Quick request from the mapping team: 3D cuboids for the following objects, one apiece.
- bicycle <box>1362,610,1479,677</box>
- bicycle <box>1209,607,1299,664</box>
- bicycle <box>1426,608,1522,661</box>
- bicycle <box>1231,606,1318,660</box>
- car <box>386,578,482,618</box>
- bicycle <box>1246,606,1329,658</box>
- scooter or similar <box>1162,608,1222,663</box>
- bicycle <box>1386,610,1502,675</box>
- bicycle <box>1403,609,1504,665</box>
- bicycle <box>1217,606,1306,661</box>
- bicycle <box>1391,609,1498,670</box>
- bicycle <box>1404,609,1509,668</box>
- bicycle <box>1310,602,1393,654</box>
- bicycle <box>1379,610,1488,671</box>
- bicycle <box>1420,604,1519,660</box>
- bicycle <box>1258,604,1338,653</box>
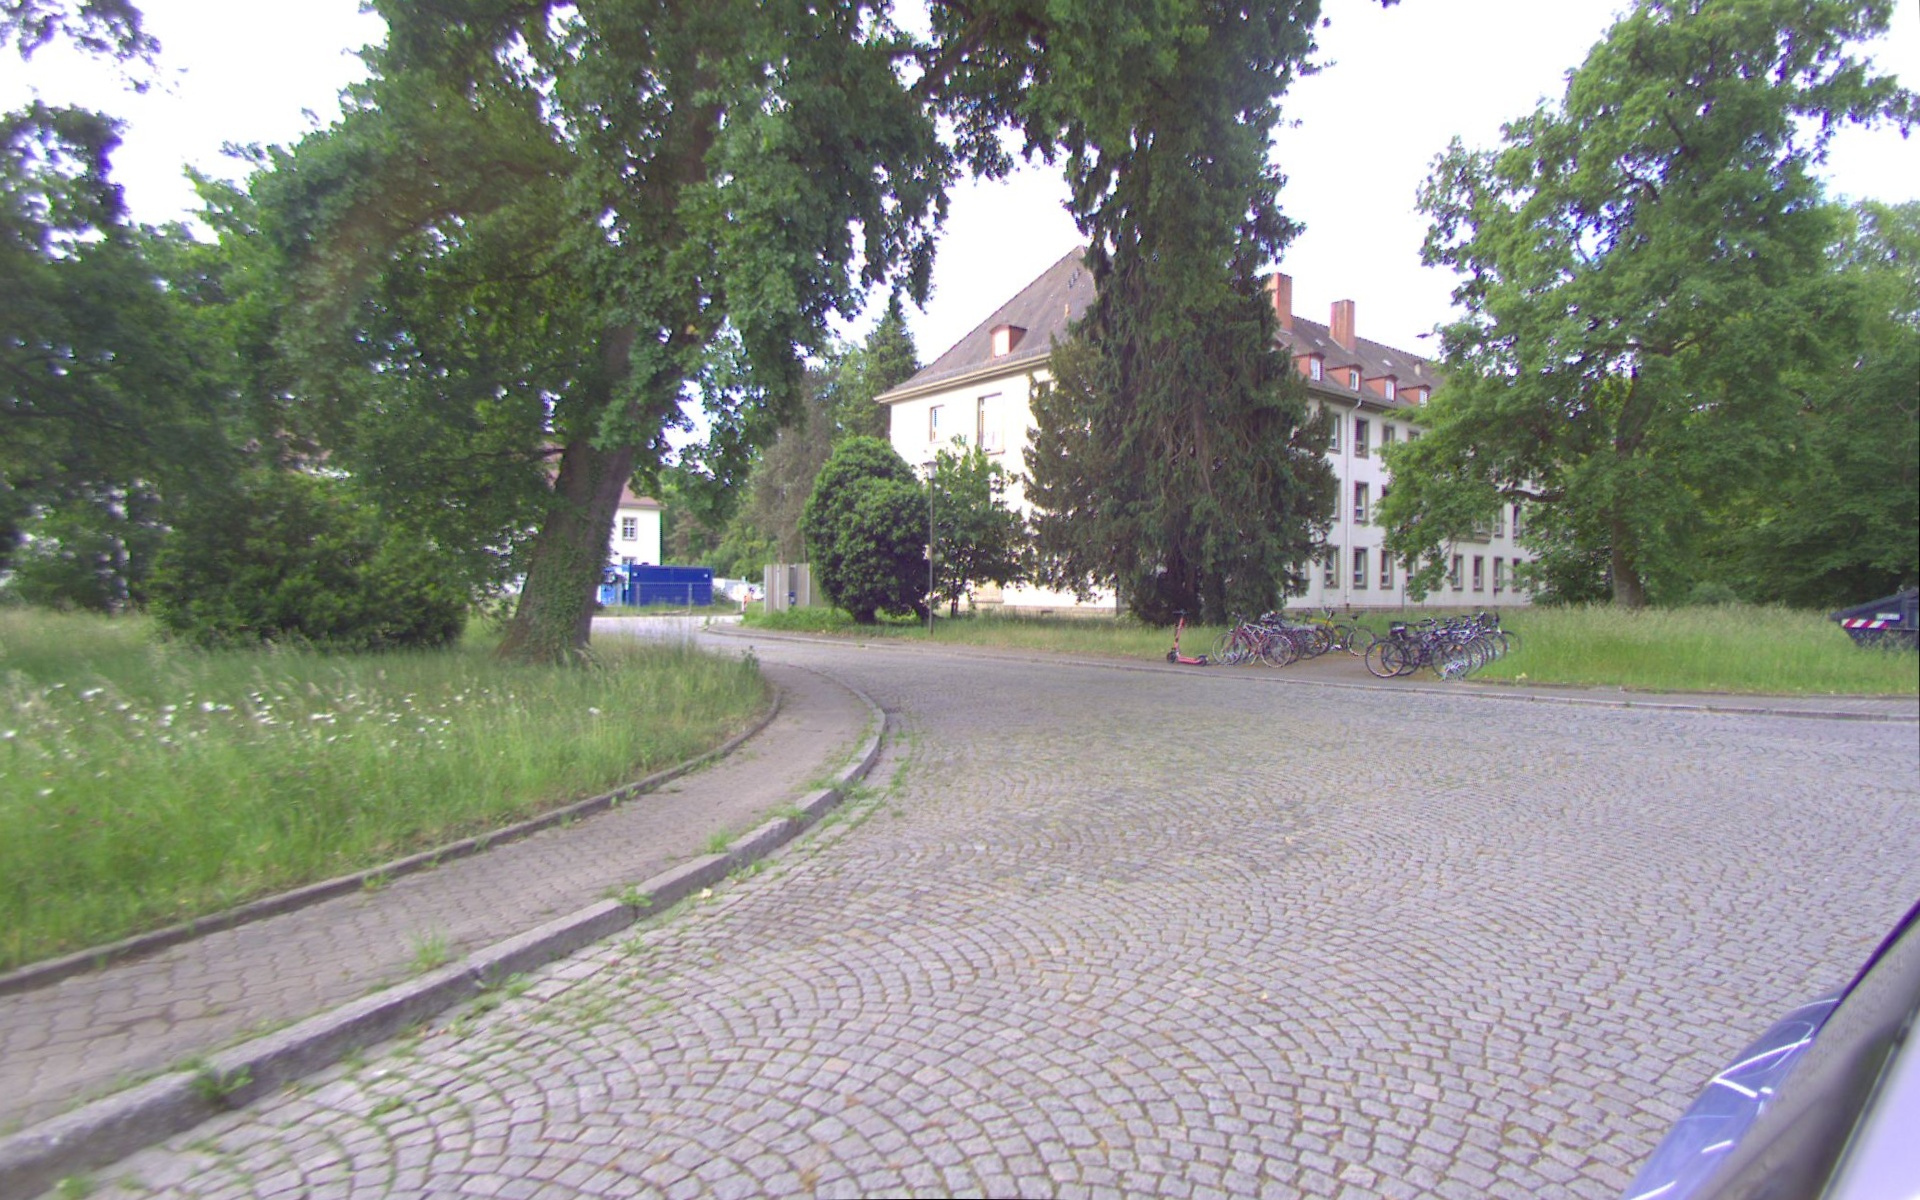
[{"bbox_3d":[8.517,0.804,18.767,1.918,1.185,0.484,-1,-1,24],"label":"bicycle"},{"bbox_3d":[6.392,0.759,22.021,1.840,1.185,0.484,0,-1,26],"label":"bicycle"},{"bbox_3d":[11.914,0.794,23.488,1.927,1.185,0.530,-2,-1,36],"label":"bicycle"},{"bbox_3d":[7.161,0.731,23.075,1.844,1.185,0.483,0,-1,31],"label":"bicycle"},{"bbox_3d":[-31.701,-0.142,61.036,4.851,2.333,1.922,0,0,-39],"label":"car"},{"bbox_3d":[7.653,0.729,23.666,1.838,1.185,0.484,0,-1,23],"label":"bicycle"},{"bbox_3d":[5.124,0.779,22.391,0.406,1.185,1.307,0,-1,-39],"label":"scooter or similar"},{"bbox_3d":[9.101,0.798,19.101,1.918,1.185,0.484,-1,-1,24],"label":"bicycle"},{"bbox_3d":[10.739,0.799,22.044,1.922,1.185,0.483,-1,-1,30],"label":"bicycle"},{"bbox_3d":[6.699,0.733,22.532,1.840,1.185,0.484,0,-1,26],"label":"bicycle"},{"bbox_3d":[9.836,0.800,20.598,1.920,1.185,0.484,-1,-1,27],"label":"bicycle"},{"bbox_3d":[10.367,0.797,21.160,1.922,1.185,0.483,-1,-1,30],"label":"bicycle"},{"bbox_3d":[9.687,0.673,25.087,1.853,1.184,0.481,3,1,42],"label":"bicycle"},{"bbox_3d":[9.408,0.802,20.168,1.920,1.185,0.484,-1,-1,27],"label":"bicycle"},{"bbox_3d":[11.246,0.702,22.373,1.922,1.185,0.483,-1,-1,30],"label":"bicycle"},{"bbox_3d":[8.346,0.691,24.996,1.838,1.185,0.484,0,-1,23],"label":"bicycle"}]
